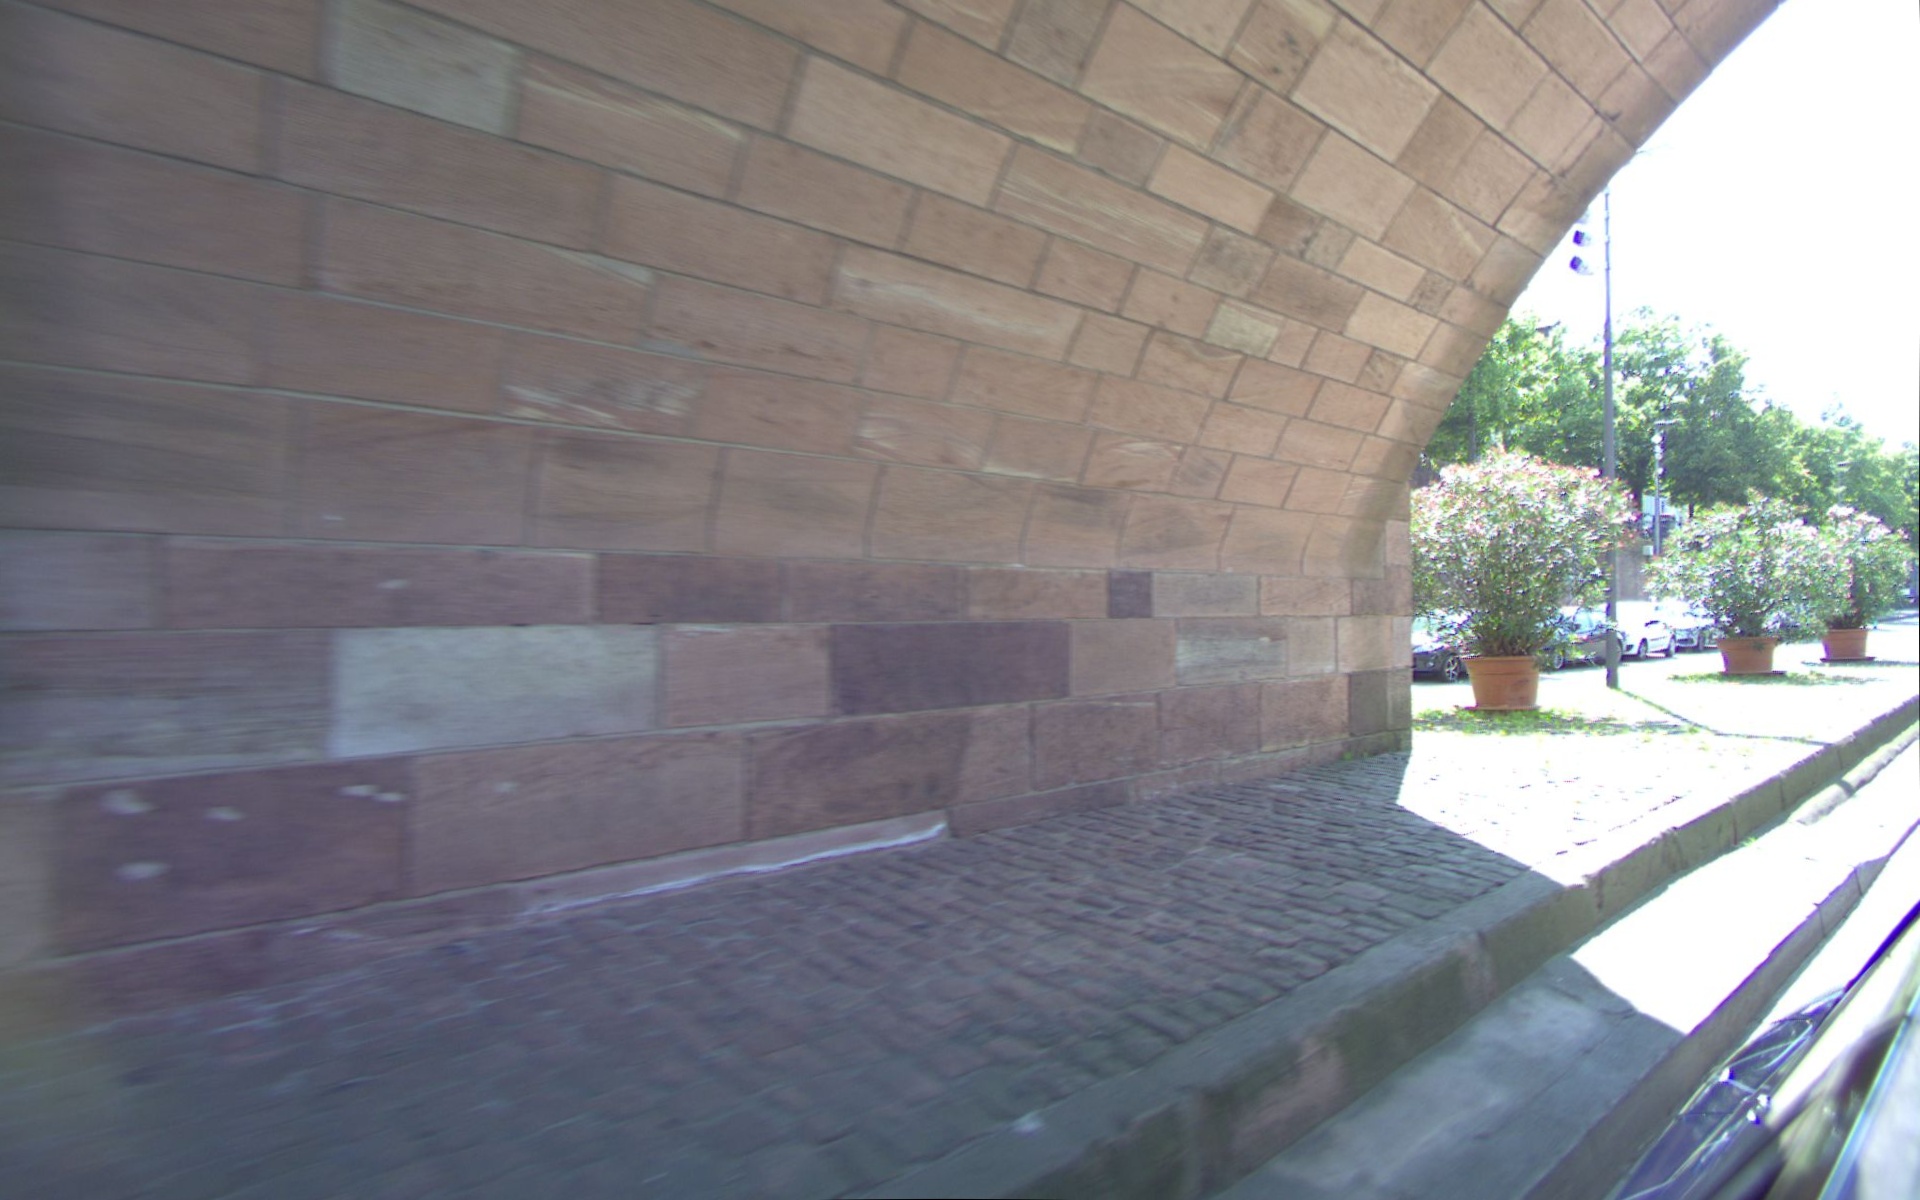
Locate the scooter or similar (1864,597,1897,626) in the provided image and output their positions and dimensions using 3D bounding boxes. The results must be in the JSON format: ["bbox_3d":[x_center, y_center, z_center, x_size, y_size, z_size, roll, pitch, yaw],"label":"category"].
[{"bbox_3d":[36.239,0.446,39.823,1.410,1.103,0.534,-1,1,-29],"label":"scooter or similar"}]

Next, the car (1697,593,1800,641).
[{"bbox_3d":[25.580,0.508,32.794,3.830,1.431,1.616,-1,0,-36],"label":"car"}]

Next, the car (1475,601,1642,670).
[{"bbox_3d":[14.447,0.797,24.375,4.322,1.405,1.717,-1,2,-33],"label":"car"}]

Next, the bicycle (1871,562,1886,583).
[{"bbox_3d":[53.025,-1.595,58.420,1.899,1.155,0.382,0,0,-39],"label":"bicycle"}]

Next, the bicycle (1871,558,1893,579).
[{"bbox_3d":[50.369,-1.706,55.298,1.887,1.120,0.411,-1,0,-33],"label":"bicycle"}]

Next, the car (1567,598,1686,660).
[{"bbox_3d":[17.741,0.722,26.896,3.485,1.476,1.714,-1,0,-40],"label":"car"}]

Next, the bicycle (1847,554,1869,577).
[{"bbox_3d":[45.888,-1.751,51.711,1.701,1.119,0.411,-1,1,-33],"label":"bicycle"}]

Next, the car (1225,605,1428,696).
[{"bbox_3d":[7.005,0.887,19.267,3.826,1.540,1.597,-1,0,-32],"label":"car"}]

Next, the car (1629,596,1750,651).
[{"bbox_3d":[21.768,0.637,30.143,4.671,1.450,1.757,-1,0,-39],"label":"car"}]

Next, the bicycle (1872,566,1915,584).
[{"bbox_3d":[54.945,-1.444,59.569,0.293,1.017,1.857,1,0,-40],"label":"bicycle"}]

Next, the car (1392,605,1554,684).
[{"bbox_3d":[10.983,0.886,21.609,3.644,1.503,1.500,-1,0,-34],"label":"car"}]

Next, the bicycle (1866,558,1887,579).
[{"bbox_3d":[49.111,-1.683,54.207,1.701,1.120,0.411,-1,0,-33],"label":"bicycle"}]
